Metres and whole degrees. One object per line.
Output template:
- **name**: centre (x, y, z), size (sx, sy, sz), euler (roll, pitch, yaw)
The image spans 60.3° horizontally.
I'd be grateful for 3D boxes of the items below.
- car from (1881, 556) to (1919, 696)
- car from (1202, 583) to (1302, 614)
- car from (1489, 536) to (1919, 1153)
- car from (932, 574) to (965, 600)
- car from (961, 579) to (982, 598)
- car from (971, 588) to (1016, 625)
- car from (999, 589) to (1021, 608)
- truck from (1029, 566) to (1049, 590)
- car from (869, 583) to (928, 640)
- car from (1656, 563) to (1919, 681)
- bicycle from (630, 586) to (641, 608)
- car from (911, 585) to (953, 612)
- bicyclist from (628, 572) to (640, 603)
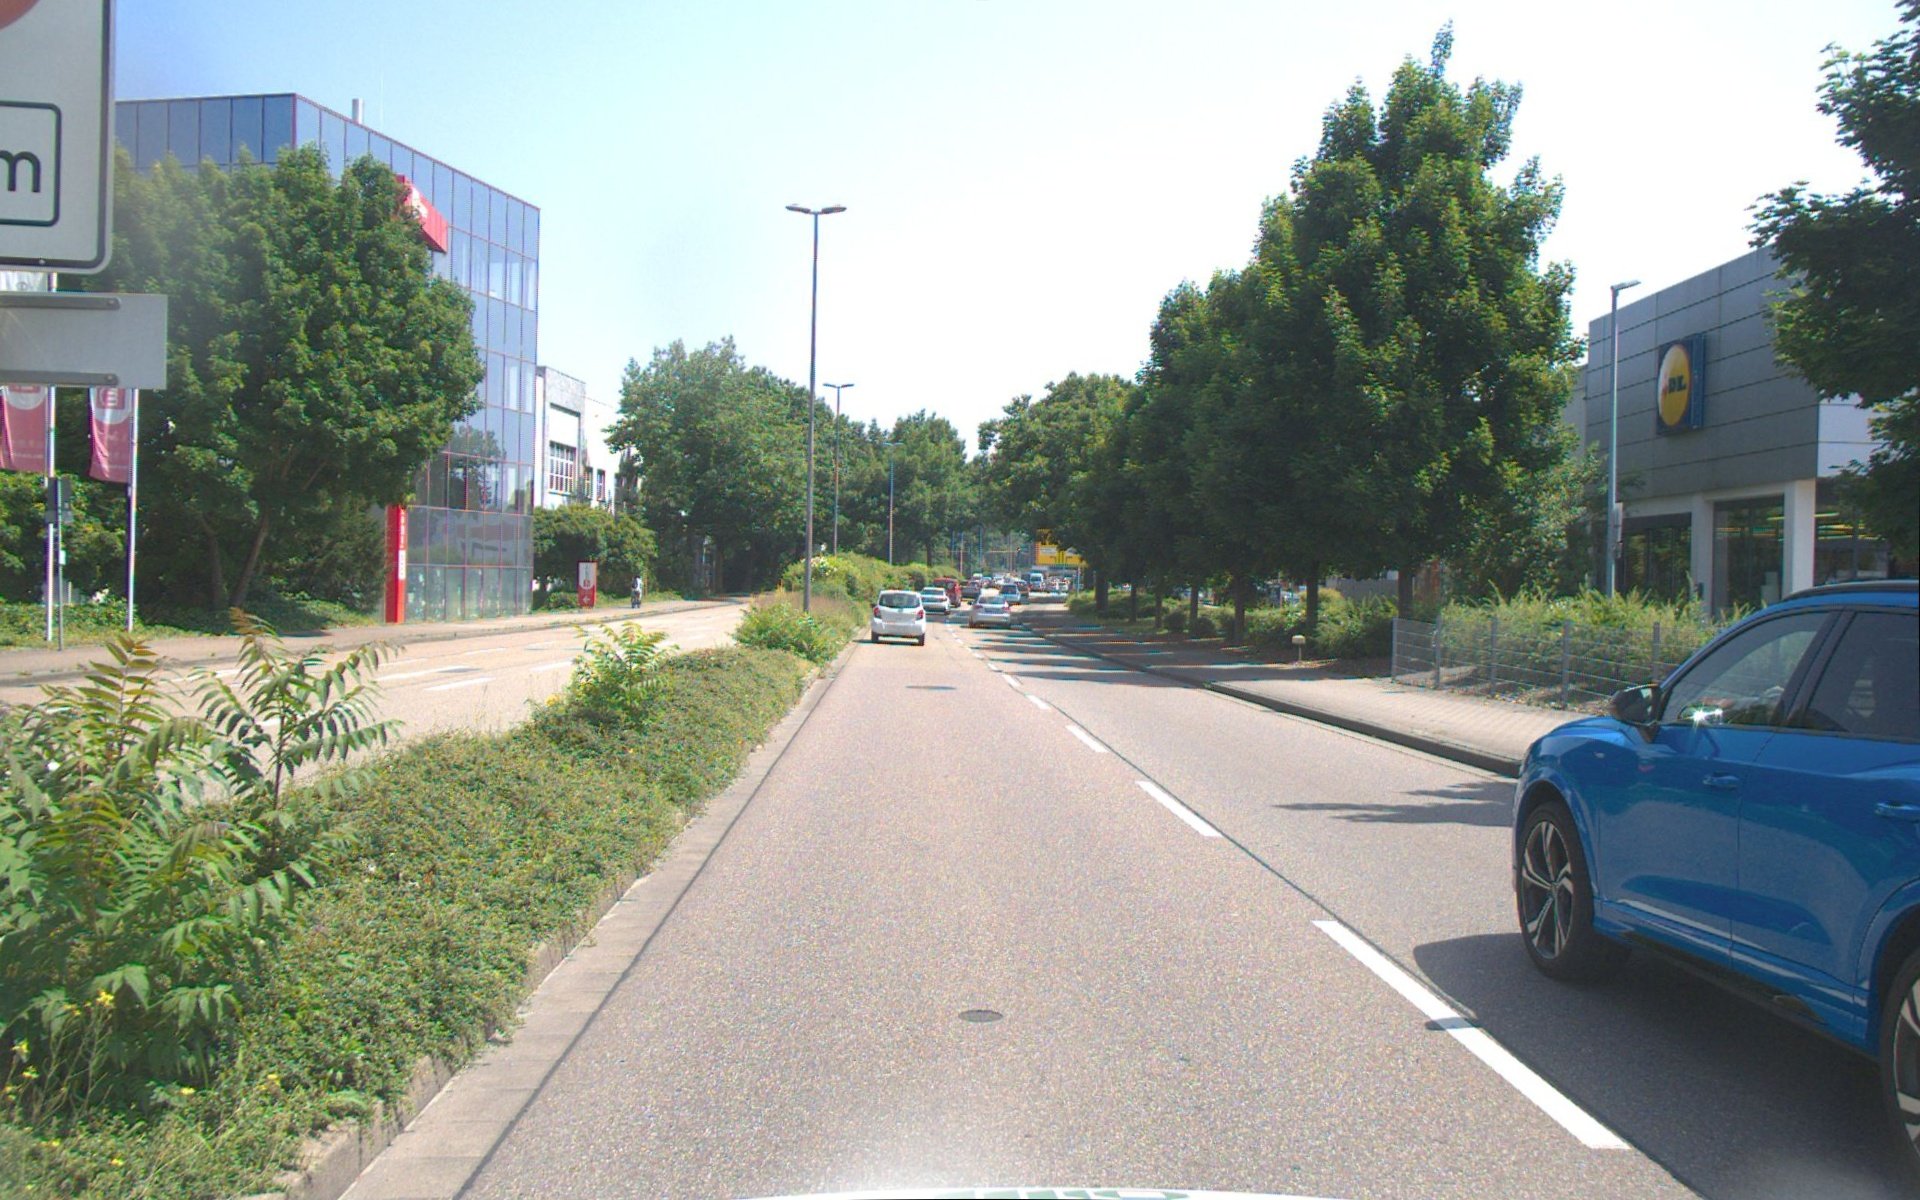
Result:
- **car**: centre (13.053, 0.350, 19.050), size (3.909, 1.624, 1.825), euler (1, 0, -5)
- **car**: centre (13.681, -0.083, 77.670), size (1.930, 1.375, 4.658), euler (-1, 1, -35)
- **car**: centre (3.381, 0.645, 5.414), size (1.772, 1.620, 4.348), euler (1, 0, -2)
- **car**: centre (-0.718, -0.838, 105.054), size (1.845, 1.636, 4.002), euler (-1, 0, 3)
- **car**: centre (0.882, -0.868, 125.505), size (1.457, 1.416, 3.306), euler (2, 0, -2)
- **car**: centre (1.448, 0.250, 71.186), size (1.827, 1.498, 4.001), euler (2, 0, 1)
- **car**: centre (3.633, -0.103, 120.342), size (1.412, 1.372, 3.459), euler (0, 1, -2)
- **truck**: centre (12.189, -3.409, 254.497), size (2.870, 3.563, 9.163), euler (1, 1, 4)
- **car**: centre (-1.792, 0.325, 48.867), size (1.605, 1.579, 3.325), euler (2, 0, 0)
- **car**: centre (12.969, 0.288, 24.027), size (4.891, 1.624, 2.021), euler (-1, 0, -3)
- **bicycle**: centre (-16.448, -0.161, 83.831), size (0.339, 1.086, 0.922), euler (-1, 0, -1)
- **car**: centre (-1.474, -0.090, 87.609), size (1.845, 1.377, 4.002), euler (2, 0, 4)
- **bicyclist**: centre (-16.501, -0.639, 83.631), size (0.534, 1.536, 0.343), euler (-1, 0, -2)
